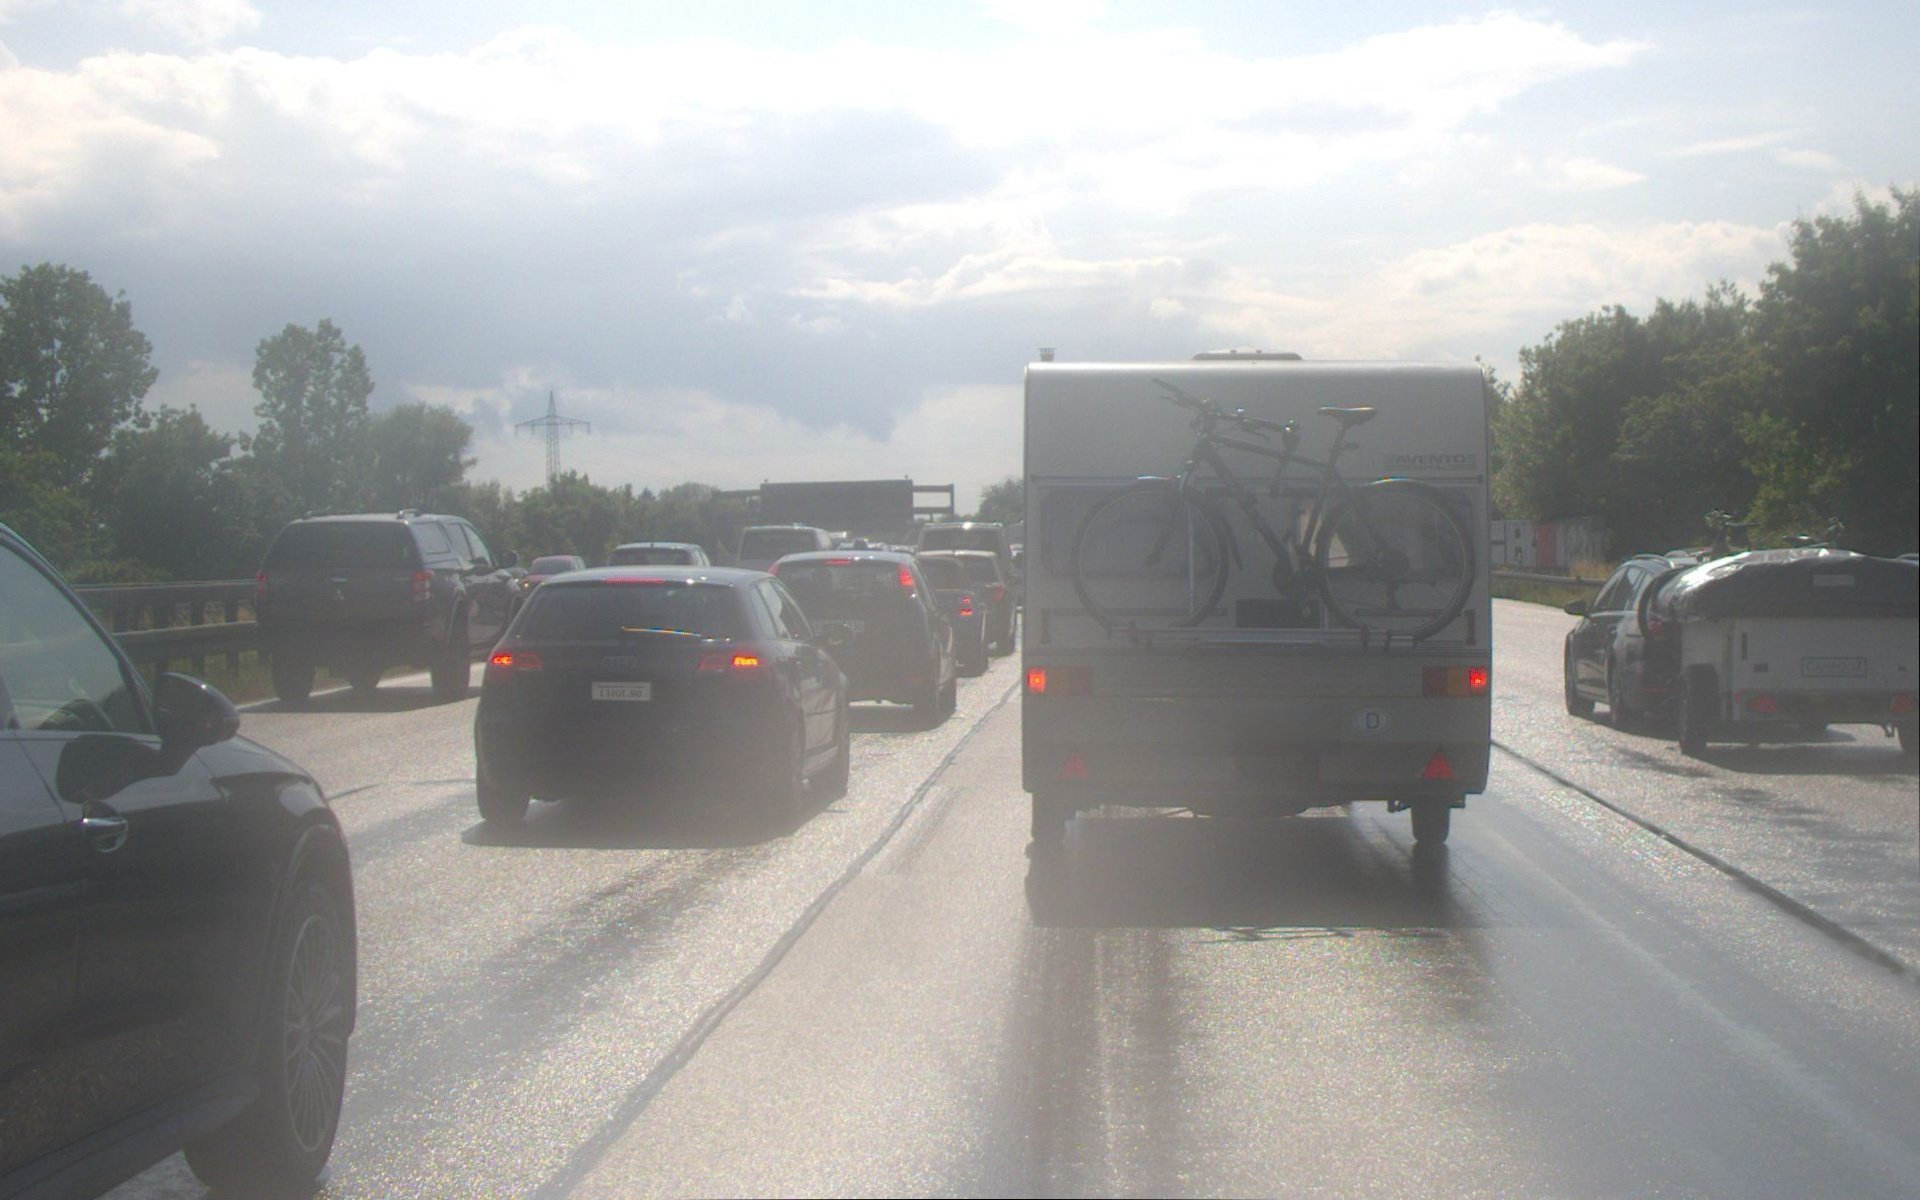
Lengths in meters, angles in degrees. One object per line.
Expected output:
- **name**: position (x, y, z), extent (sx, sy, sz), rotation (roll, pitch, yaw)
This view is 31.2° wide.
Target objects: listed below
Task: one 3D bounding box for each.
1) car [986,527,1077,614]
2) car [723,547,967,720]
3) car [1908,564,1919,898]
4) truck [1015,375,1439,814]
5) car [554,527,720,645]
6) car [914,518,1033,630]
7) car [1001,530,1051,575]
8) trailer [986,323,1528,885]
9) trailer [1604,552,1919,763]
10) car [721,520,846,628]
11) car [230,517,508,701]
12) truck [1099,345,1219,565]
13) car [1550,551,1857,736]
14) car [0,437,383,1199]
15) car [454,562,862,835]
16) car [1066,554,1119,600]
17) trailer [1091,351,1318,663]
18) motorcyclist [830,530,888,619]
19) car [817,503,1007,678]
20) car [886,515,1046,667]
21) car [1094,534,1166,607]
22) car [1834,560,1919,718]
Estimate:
- **car**: position (1.734, -0.724, 82.187), extent (1.994, 2.007, 4.000), rotation (1, 1, 3)
- **car**: position (-0.950, 0.252, 30.376), extent (1.806, 1.402, 4.000), rotation (1, 1, 3)
- **car**: position (4.869, 0.586, 12.857), extent (1.740, 1.415, 3.835), rotation (0, 1, 3)
- **truck**: position (1.644, -0.068, 22.440), extent (2.374, 2.468, 5.756), rotation (1, 1, 3)
- **car**: position (-5.072, -0.242, 54.500), extent (1.994, 1.766, 4.000), rotation (1, 1, 3)
- **car**: position (0.287, -0.501, 64.154), extent (1.994, 2.007, 4.000), rotation (0, 1, 3)
- **car**: position (2.624, -1.910, 137.751), extent (1.876, 1.754, 4.000), rotation (1, 1, 0)
- **trailer**: position (1.466, -0.021, 18.577), extent (2.374, 2.475, 6.522), rotation (1, 1, 3)
- **trailer**: position (6.042, 0.364, 25.681), extent (1.855, 1.437, 4.147), rotation (0, 1, 3)
- **car**: position (-3.542, -0.542, 69.668), extent (1.994, 2.007, 4.000), rotation (4, 1, 3)
- **car**: position (-5.834, 0.062, 34.420), extent (1.993, 1.714, 4.000), rotation (1, 1, 1)
- **truck**: position (4.546, -3.241, 79.625), extent (2.502, 4.813, 7.543), rotation (1, 1, 2)
- **car**: position (6.196, 0.314, 29.095), extent (1.855, 1.437, 4.258), rotation (0, 1, 3)
- **car**: position (-2.542, 0.551, 6.272), extent (1.994, 1.656, 4.405), rotation (0, 1, 4)
- **car**: position (-1.619, 0.487, 19.751), extent (1.757, 1.382, 3.944), rotation (0, 1, 4)
- **car**: position (5.203, -0.906, 135.456), extent (1.876, 1.754, 4.000), rotation (1, 1, 0)
- **trailer**: position (3.633, -1.306, 50.356), extent (3.007, 4.152, 8.534), rotation (1, 1, 5)
- **motorcyclist**: position (-1.954, -0.491, 66.553), extent (1.064, 1.712, 0.785), rotation (0, 0, 3)
- **car**: position (-0.532, -0.141, 41.931), extent (1.994, 2.007, 4.000), rotation (1, 1, 3)
- **car**: position (0.137, -0.157, 50.499), extent (1.994, 2.007, 4.000), rotation (4, 1, 3)
- **car**: position (5.084, -0.893, 102.356), extent (1.994, 2.007, 4.000), rotation (4, 1, 3)
- **car**: position (9.593, 0.328, 32.568), extent (1.771, 1.397, 4.289), rotation (0, 1, 4)
